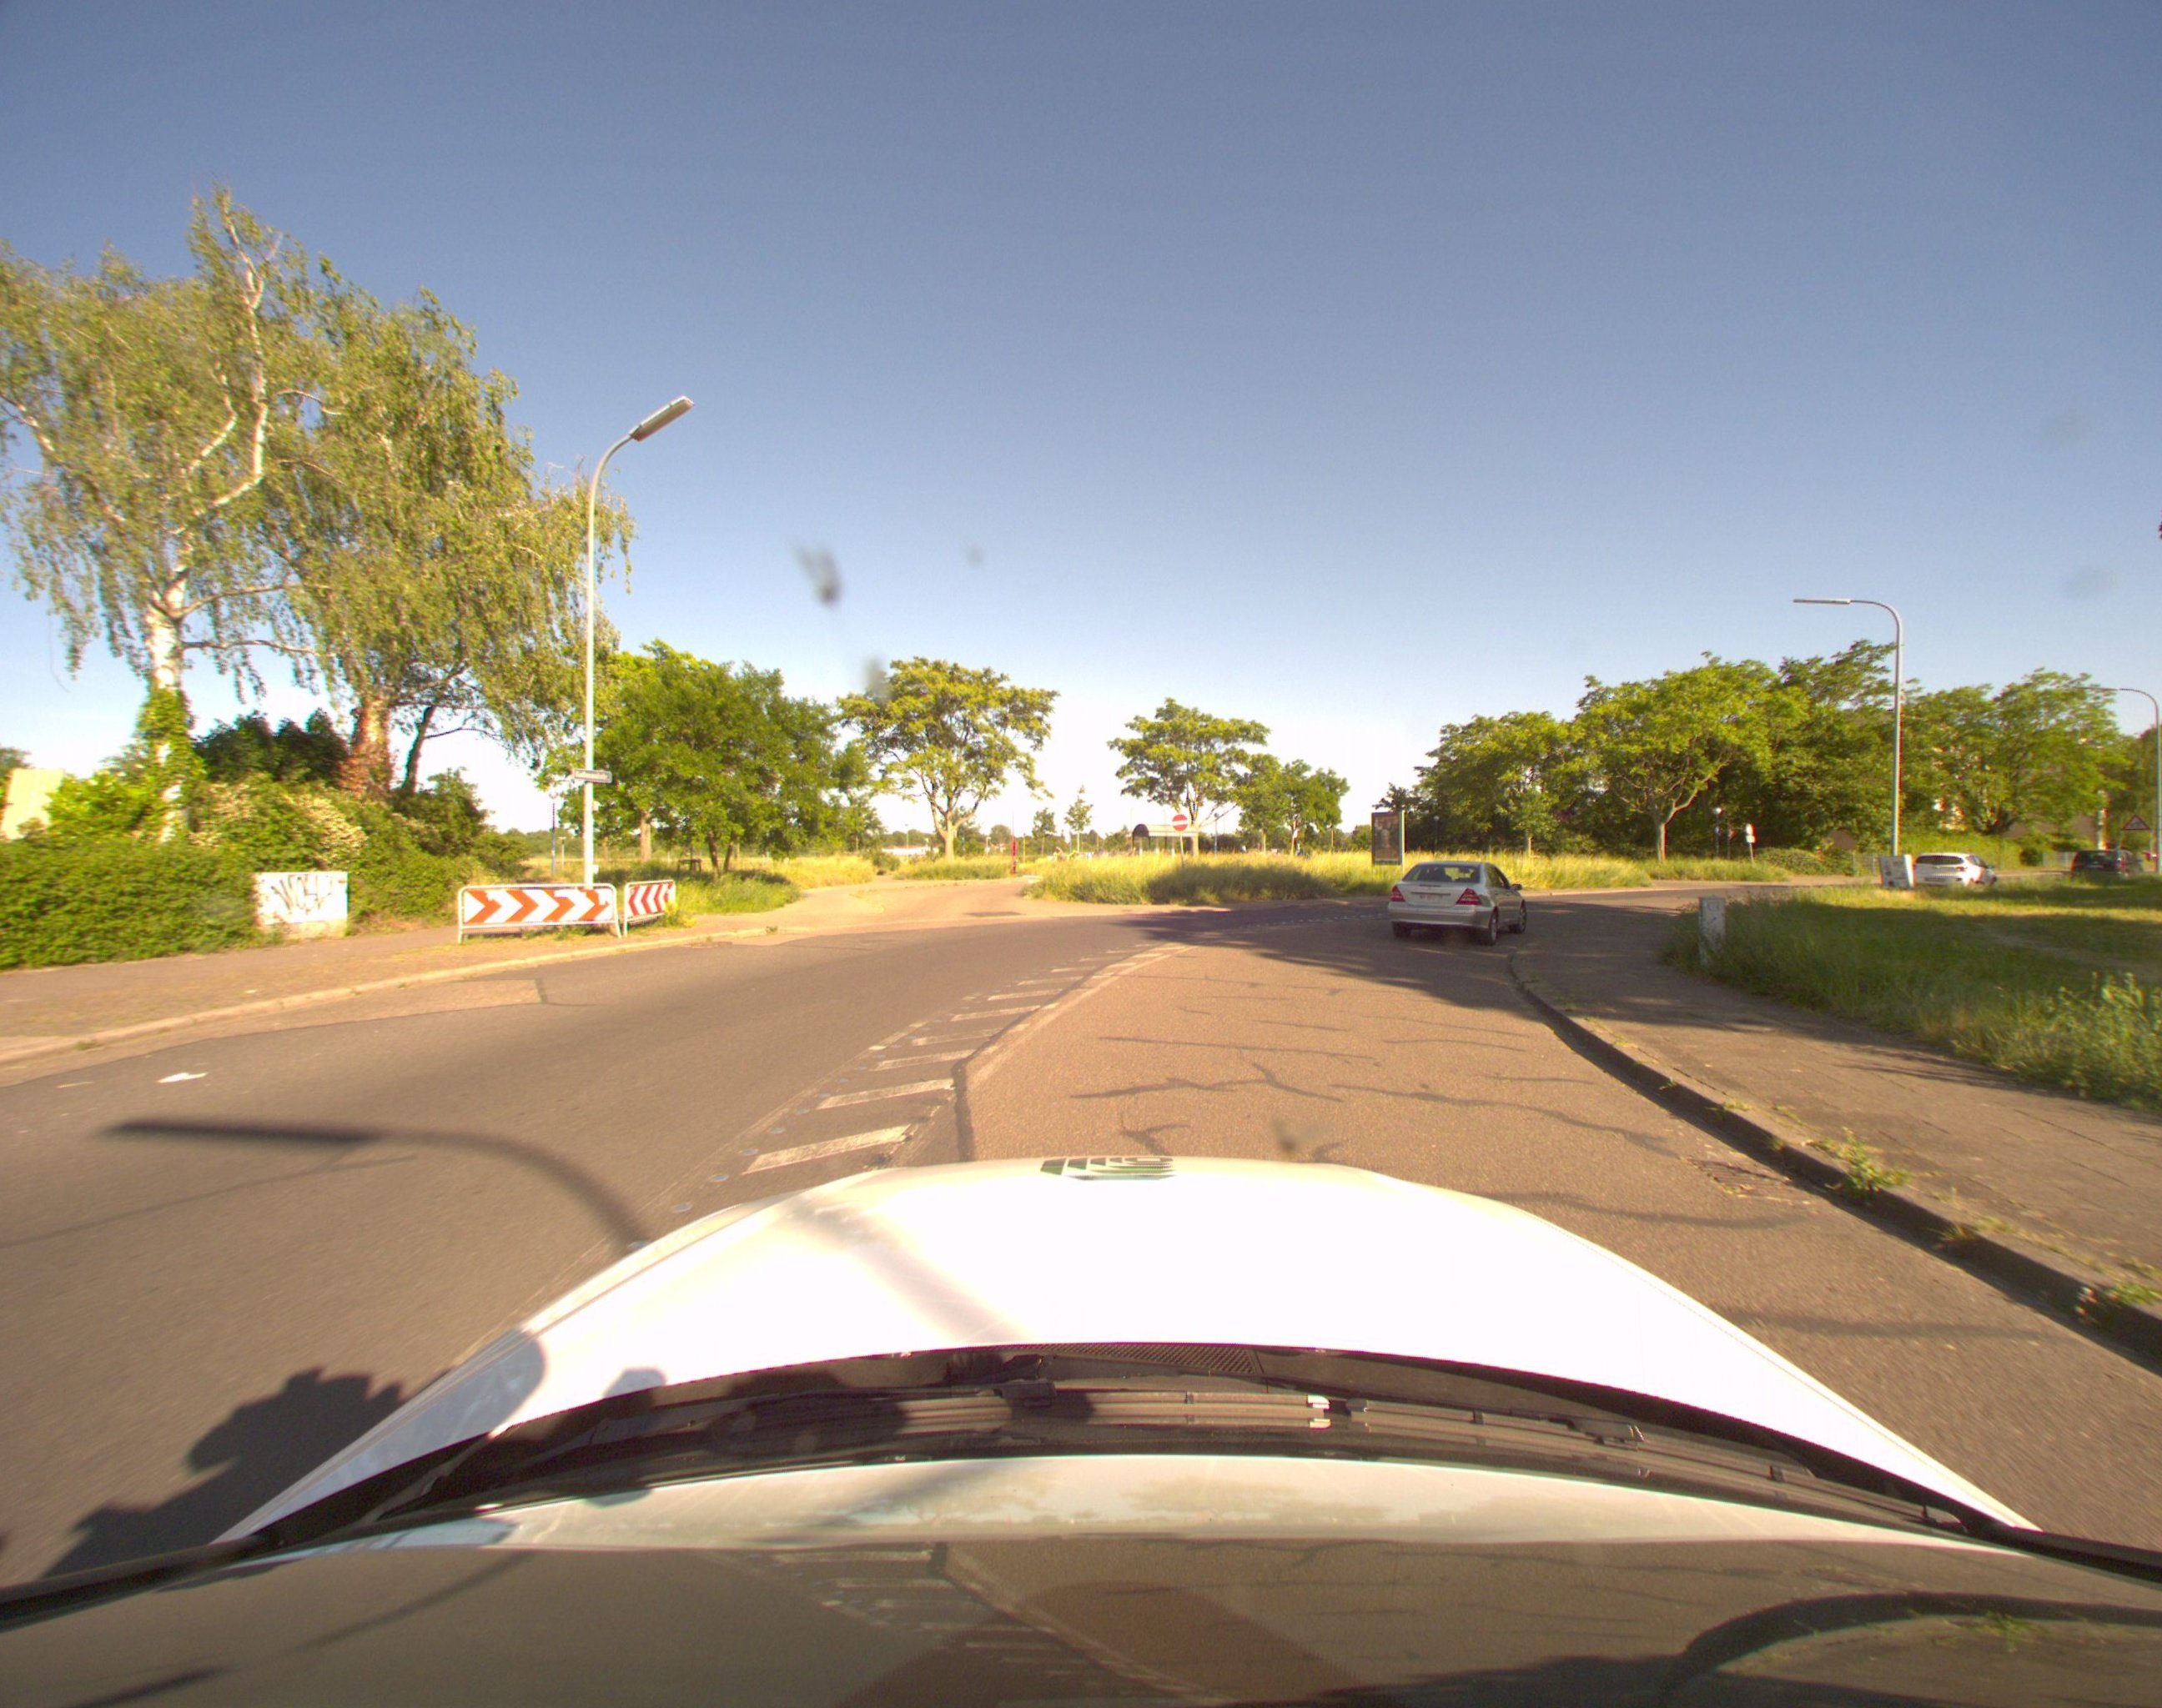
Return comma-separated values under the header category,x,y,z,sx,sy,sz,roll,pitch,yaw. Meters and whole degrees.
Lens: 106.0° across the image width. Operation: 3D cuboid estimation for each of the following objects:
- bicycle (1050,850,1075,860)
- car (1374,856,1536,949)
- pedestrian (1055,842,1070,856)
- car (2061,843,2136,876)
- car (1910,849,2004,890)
category,x,y,z,sx,sy,sz,roll,pitch,yaw
bicycle,-1.208,0.070,54.195,1.583,0.704,0.647,1,0,-37
car,7.183,0.795,15.383,1.799,1.463,4.388,1,0,38
pedestrian,-1.229,-0.317,54.143,0.804,0.940,0.695,0,0,-37
car,51.346,0.269,41.098,4.011,1.611,1.688,0,-1,-29
car,33.864,0.574,31.465,3.752,1.479,1.710,-1,0,-31
